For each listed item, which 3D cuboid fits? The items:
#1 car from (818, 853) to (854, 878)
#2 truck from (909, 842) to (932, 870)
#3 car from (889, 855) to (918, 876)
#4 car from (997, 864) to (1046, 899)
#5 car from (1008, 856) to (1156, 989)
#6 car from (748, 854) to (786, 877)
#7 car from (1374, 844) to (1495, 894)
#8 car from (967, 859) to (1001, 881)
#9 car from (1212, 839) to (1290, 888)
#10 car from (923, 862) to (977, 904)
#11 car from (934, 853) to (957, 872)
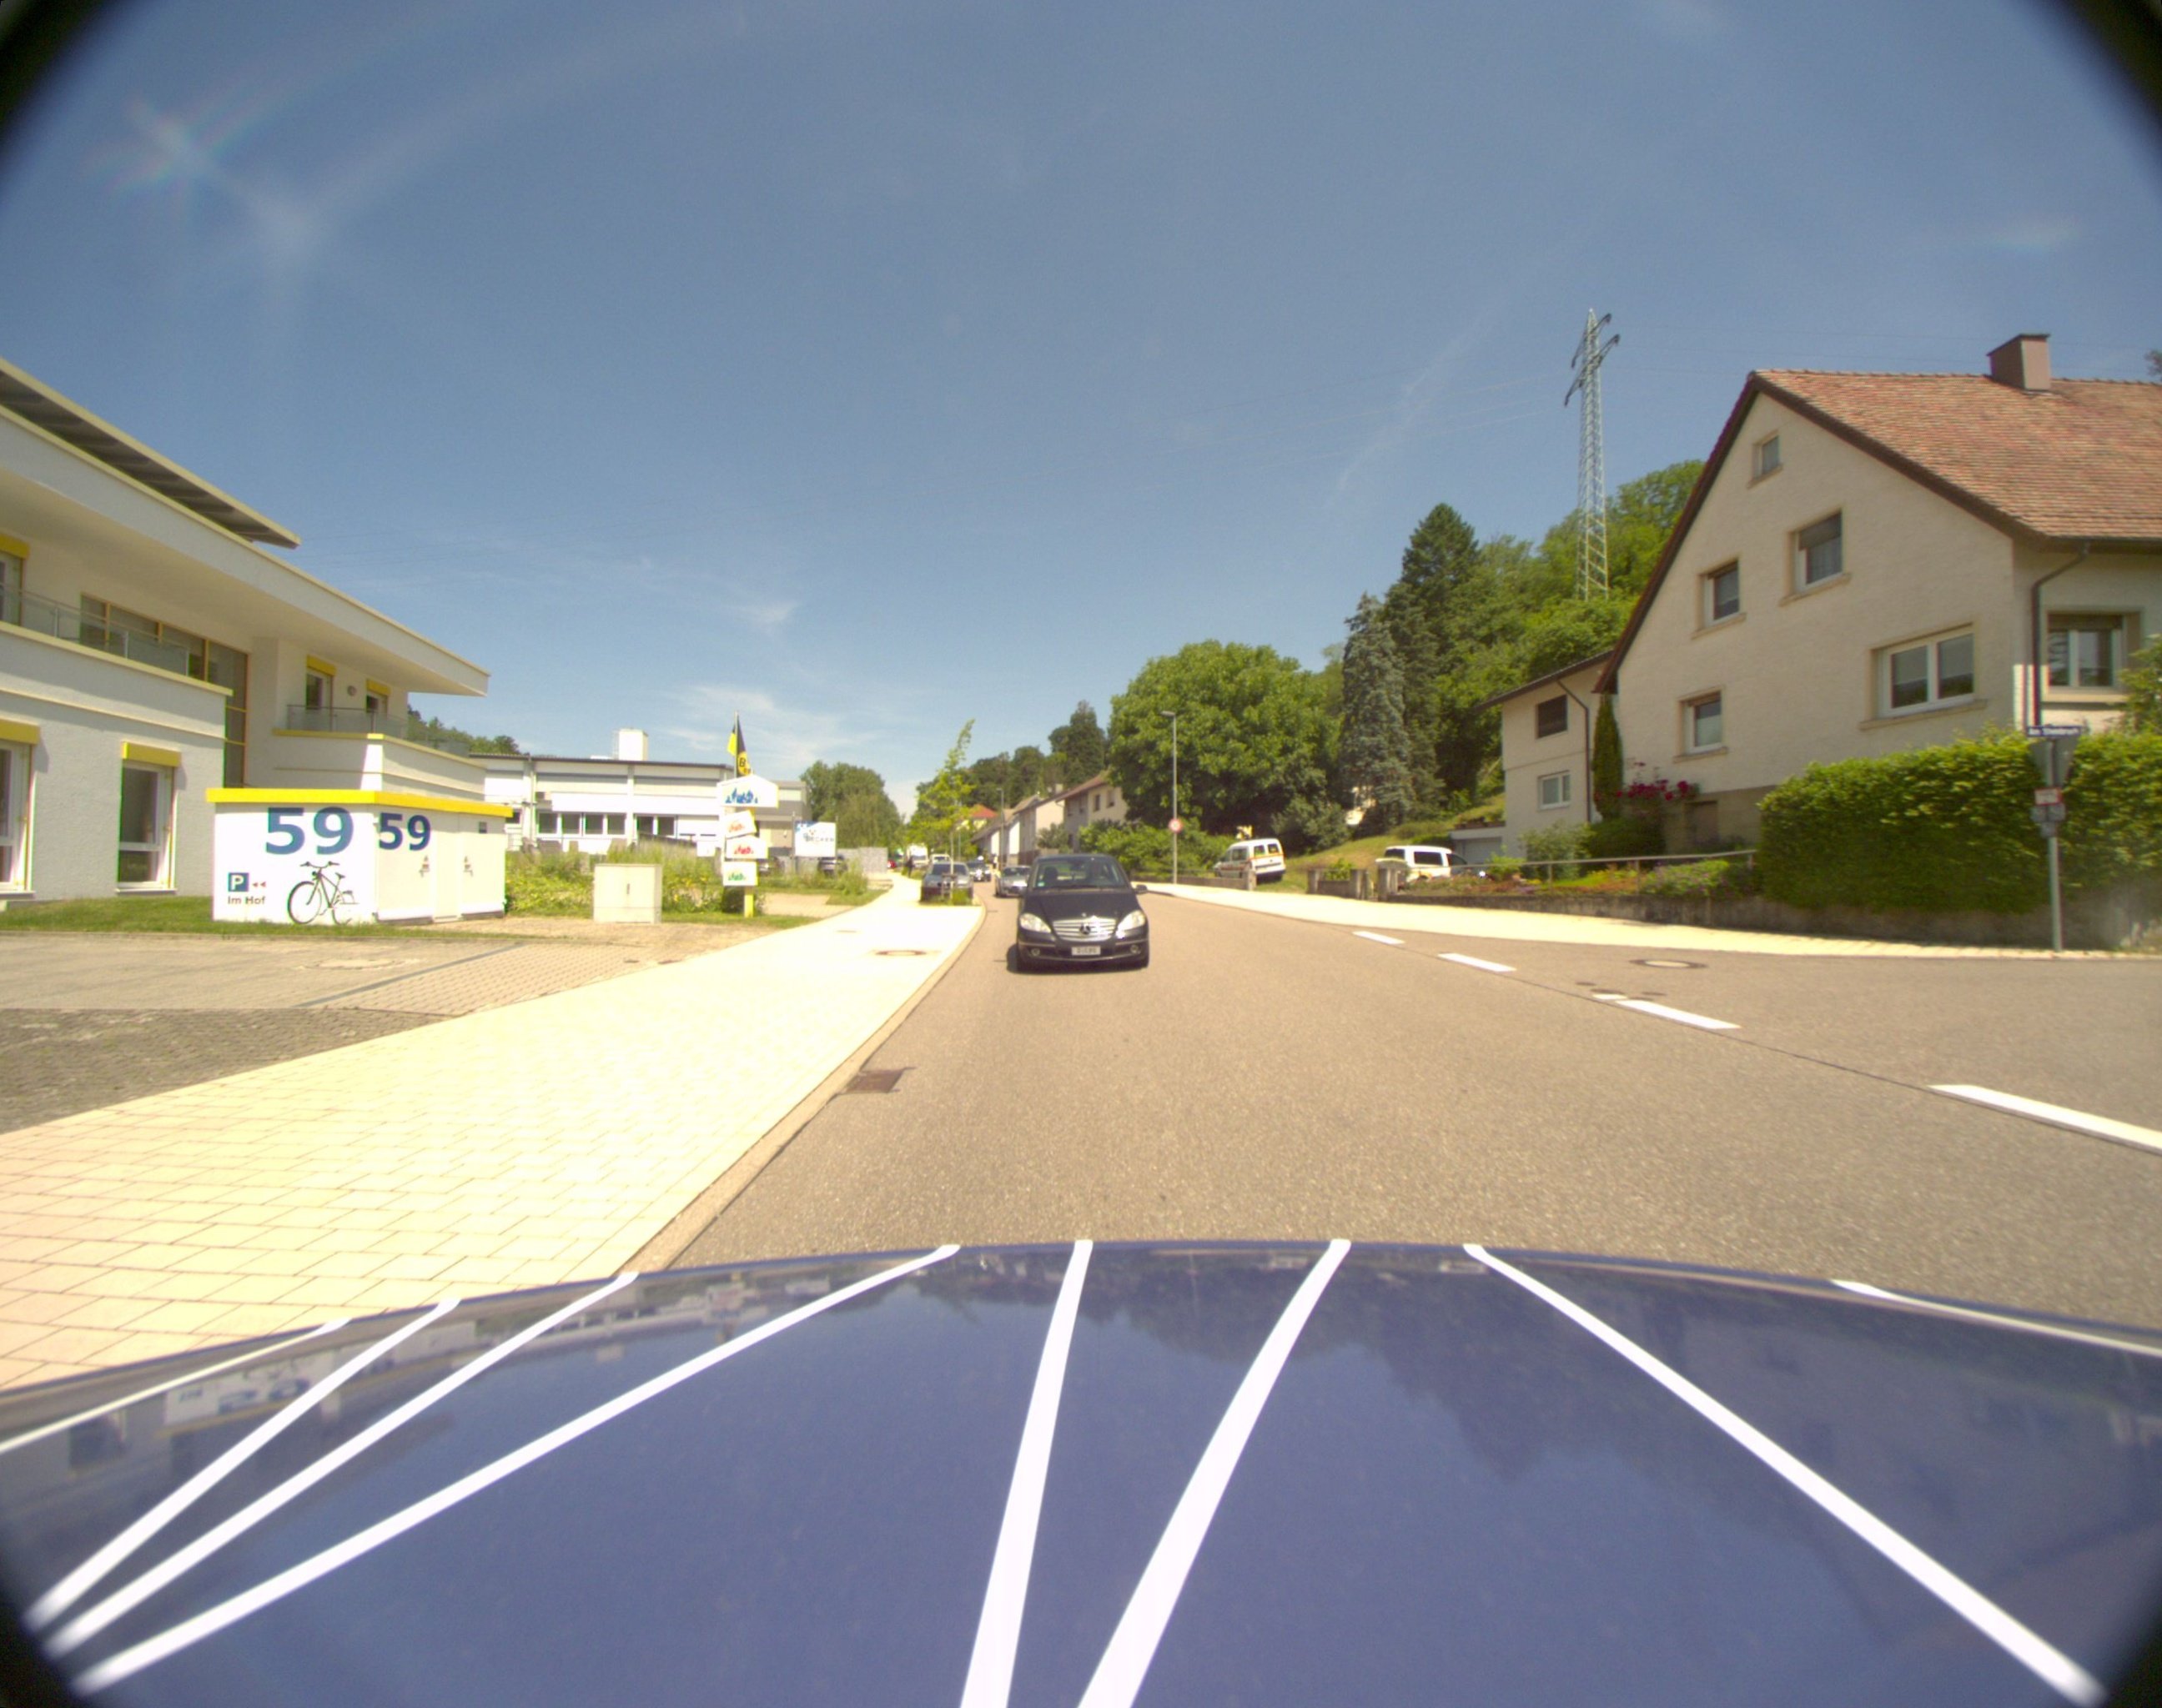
[{"bbox_3d":[-15.877,0.725,49.432,2.001,1.477,3.994,3,-1,-15],"label":"car"},{"bbox_3d":[-21.034,0.267,99.543,2.809,3.394,8.110,1,0,-12],"label":"truck"},{"bbox_3d":[-13.239,0.853,56.418,1.654,1.520,3.858,0,0,-20],"label":"car"},{"bbox_3d":[-2.458,1.070,30.829,1.669,1.253,3.549,0,0,-10],"label":"car"},{"bbox_3d":[-0.084,0.859,11.548,1.791,1.595,4.074,-2,0,-3],"label":"car"},{"bbox_3d":[-20.015,0.704,48.560,1.746,1.357,3.835,0,0,-15],"label":"car"},{"bbox_3d":[13.610,0.620,29.313,4.003,1.778,1.809,1,-4,-17],"label":"car"},{"bbox_3d":[-6.643,1.061,51.648,1.912,1.341,3.995,0,0,-13],"label":"car"},{"bbox_3d":[7.177,0.391,32.516,1.705,1.937,3.995,-1,0,-13],"label":"car"},{"bbox_3d":[-4.603,0.982,27.158,1.676,1.368,3.997,1,0,-7],"label":"car"},{"bbox_3d":[-13.194,0.808,73.955,1.970,1.823,4.459,1,0,-13],"label":"car"}]
